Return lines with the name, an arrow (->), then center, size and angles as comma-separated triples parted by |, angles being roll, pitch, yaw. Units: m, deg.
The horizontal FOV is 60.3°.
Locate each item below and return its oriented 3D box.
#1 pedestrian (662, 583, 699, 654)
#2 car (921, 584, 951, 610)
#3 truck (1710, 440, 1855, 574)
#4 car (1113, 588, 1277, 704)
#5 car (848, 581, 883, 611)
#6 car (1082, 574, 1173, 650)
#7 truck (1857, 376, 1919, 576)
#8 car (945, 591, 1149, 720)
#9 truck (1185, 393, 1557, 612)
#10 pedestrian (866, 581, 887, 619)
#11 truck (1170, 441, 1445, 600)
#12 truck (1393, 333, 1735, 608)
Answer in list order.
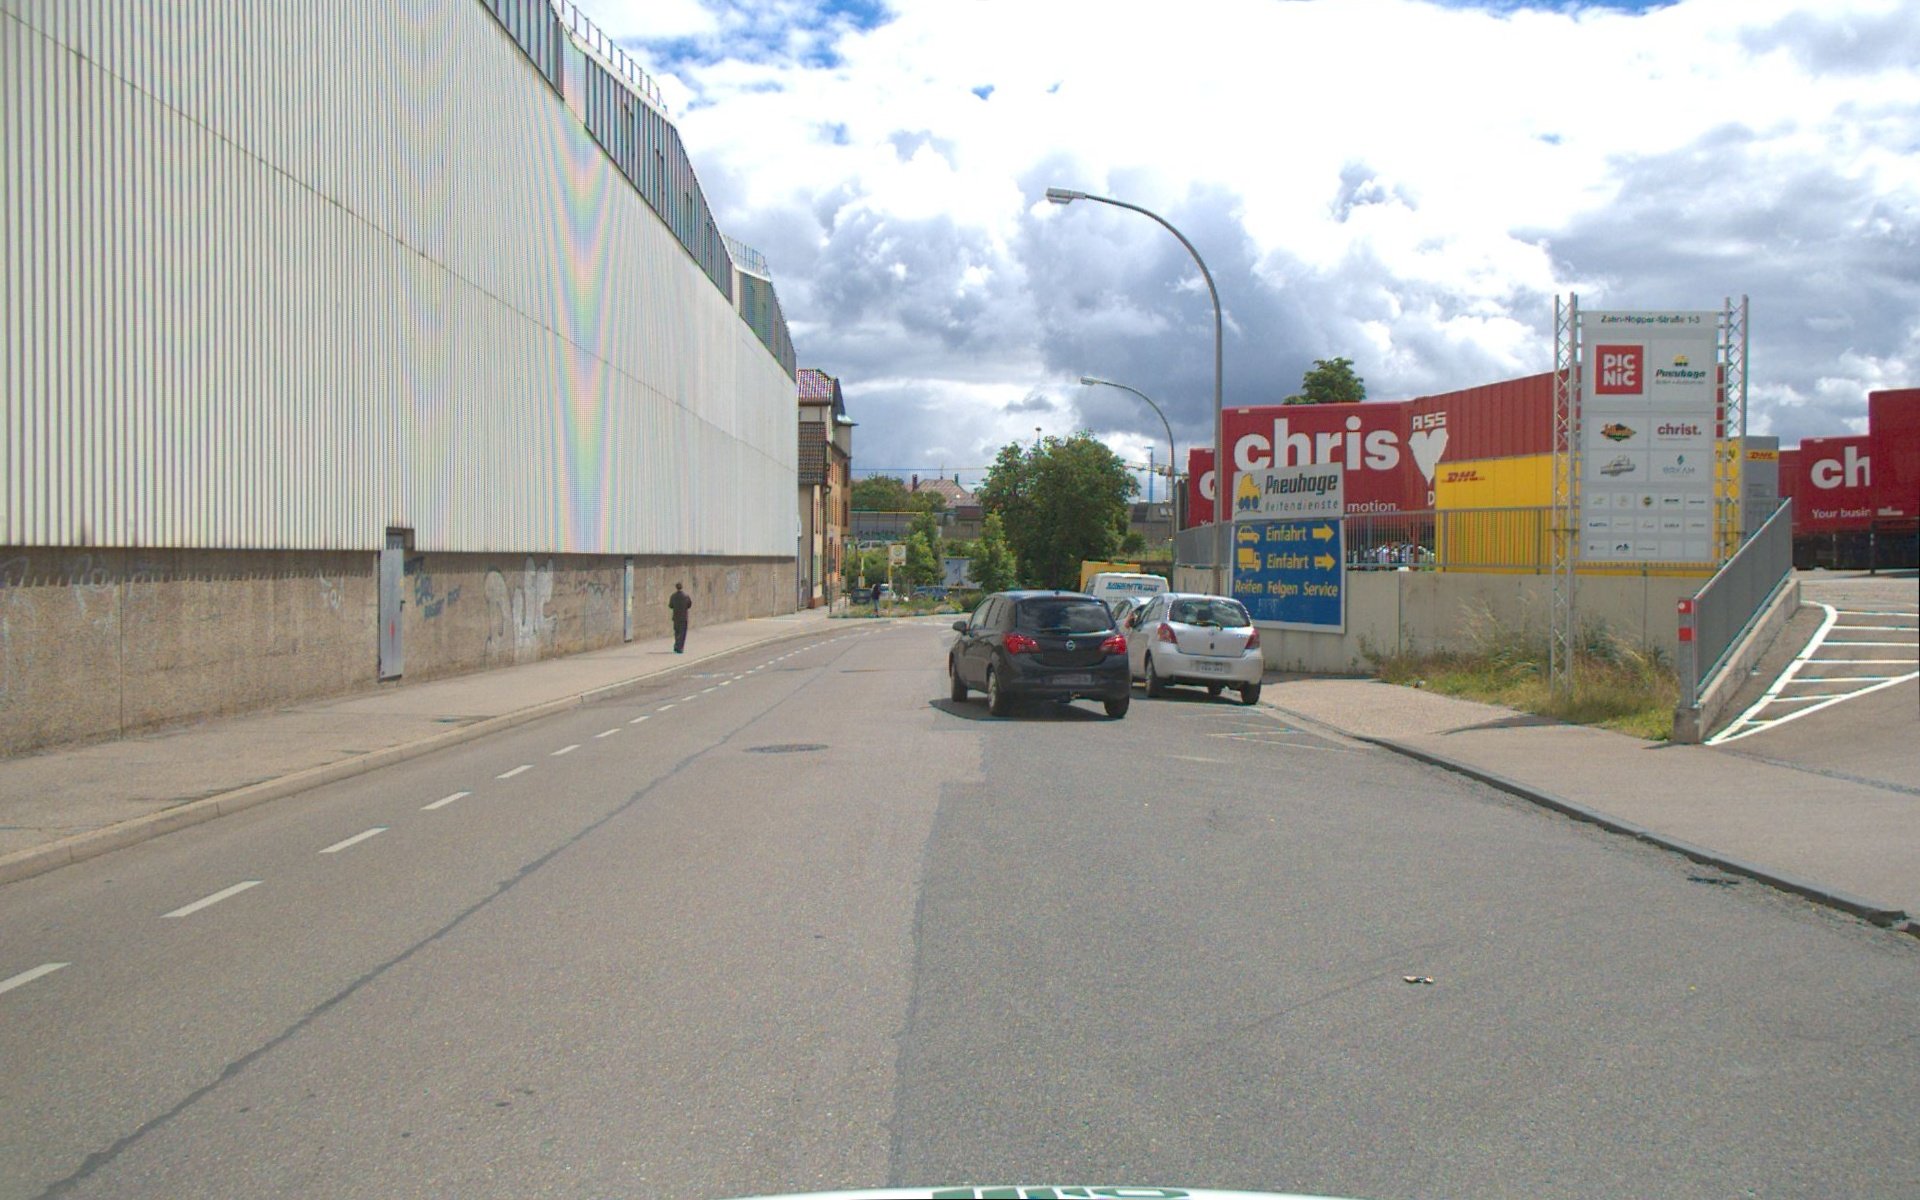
pedestrian -> -6.574, 0.444, 38.955 | 0.698, 1.666, 0.777 | 0, -2, 1
car -> -1.491, -0.183, 103.498 | 1.815, 1.512, 3.999 | 0, -2, -1
truck -> 29.720, -3.180, 59.565 | 2.942, 4.131, 8.436 | -1, -2, 39
car -> 3.486, 0.635, 25.184 | 1.668, 1.554, 3.735 | 3, 0, -4
car -> -5.226, -0.194, 91.881 | 1.815, 1.512, 3.999 | 0, -2, -1
car -> 3.588, 0.246, 35.949 | 1.666, 1.554, 3.738 | 1, 0, 1
truck -> 24.139, -2.823, 39.905 | 2.942, 4.131, 8.436 | -1, -2, 39
car -> 0.992, 0.632, 20.843 | 1.671, 1.472, 3.783 | 1, 0, -12
truck -> 9.685, -2.130, 39.095 | 8.275, 4.753, 2.582 | 0, -2, 21
pedestrian -> -3.789, -0.005, 75.302 | 0.835, 1.692, 0.860 | 0, -2, 4
truck -> 10.892, -2.412, 52.330 | 8.269, 4.753, 2.584 | 0, -2, 10
truck -> 11.470, -2.203, 32.451 | 2.529, 4.527, 7.838 | 1, -2, -12
